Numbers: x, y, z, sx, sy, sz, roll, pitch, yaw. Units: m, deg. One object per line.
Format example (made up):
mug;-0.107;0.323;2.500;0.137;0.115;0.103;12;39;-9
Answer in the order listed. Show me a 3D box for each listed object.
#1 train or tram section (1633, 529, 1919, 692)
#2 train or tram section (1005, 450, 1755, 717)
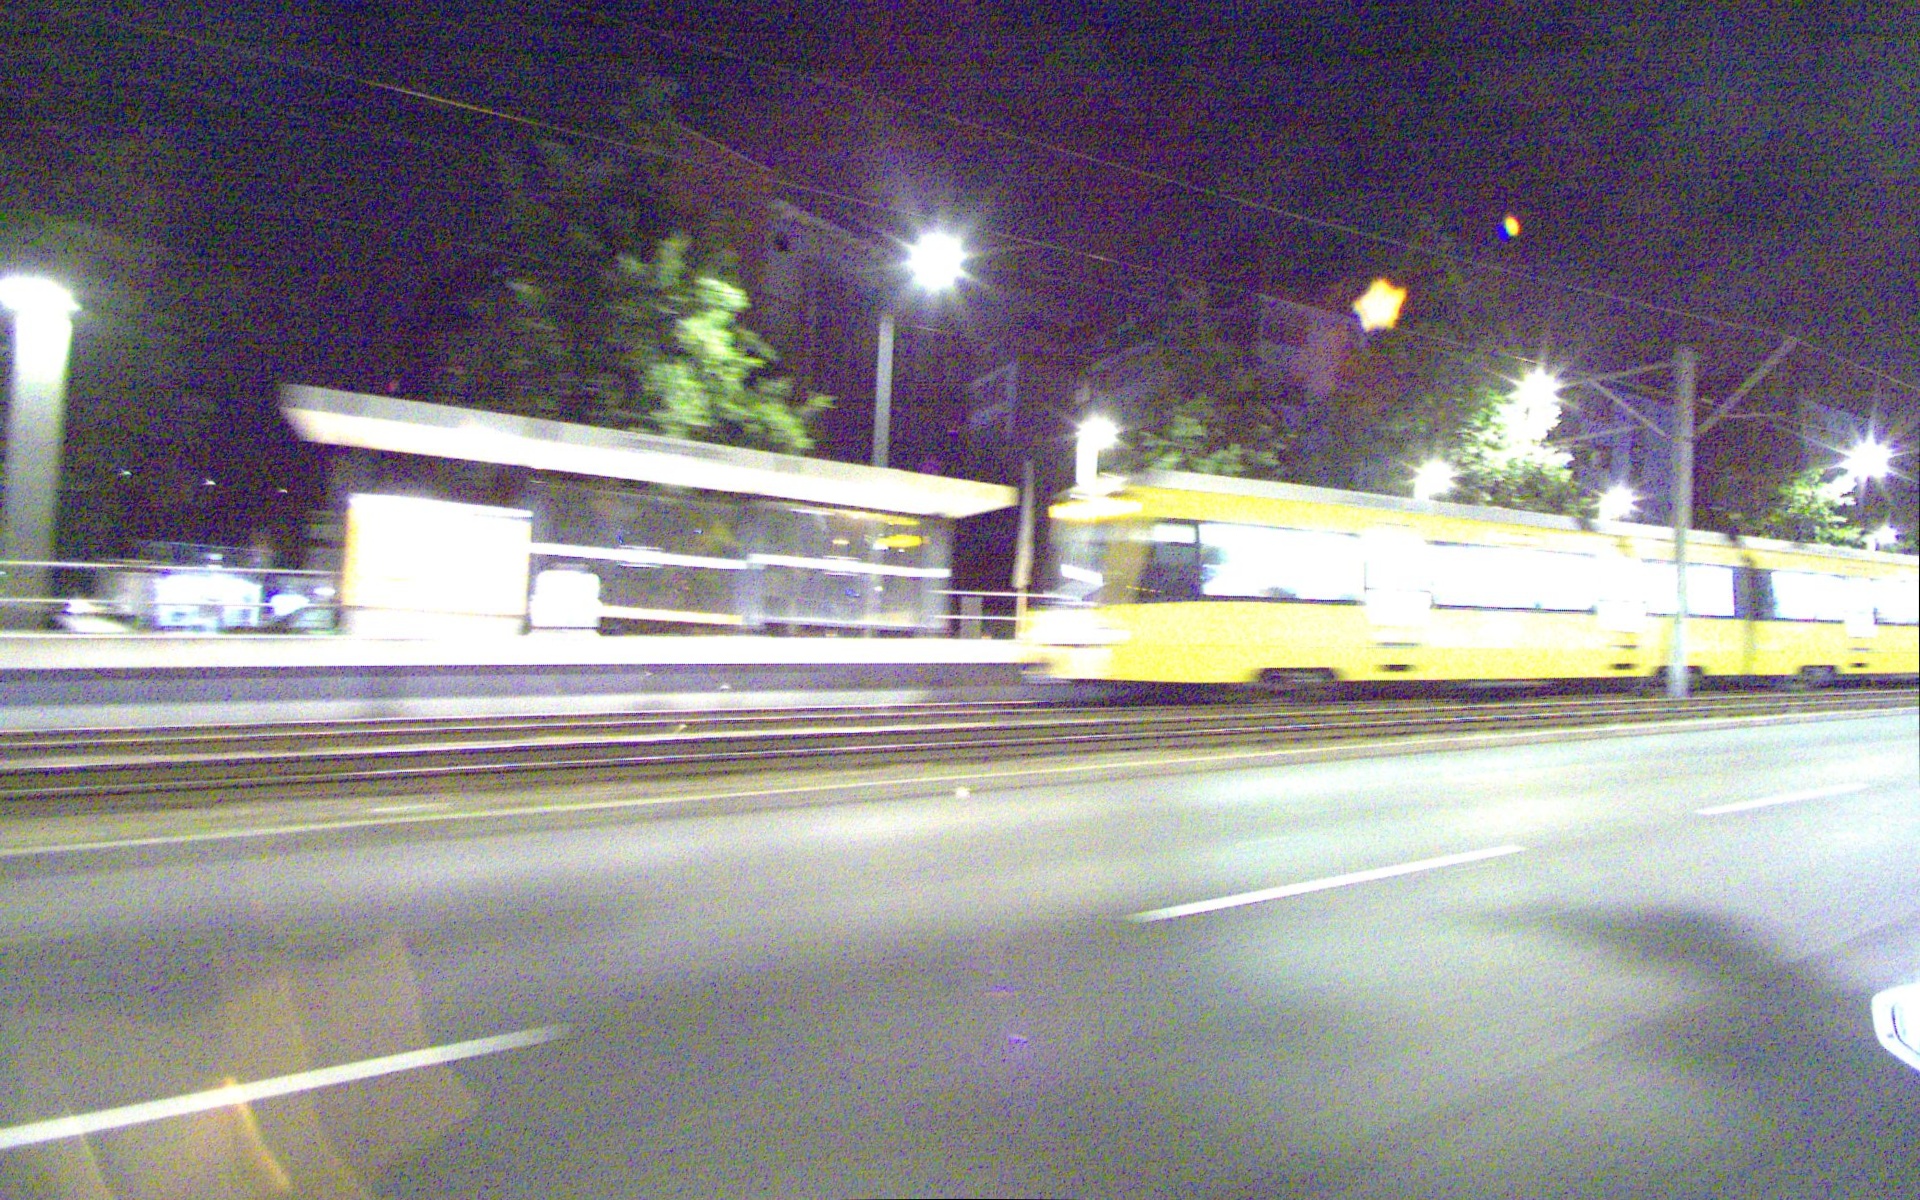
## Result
train or tram section;26.346;0.501;29.522;18.441;3.878;2.747;2;-1;-29
train or tram section;9.821;0.016;20.468;19.124;3.897;2.727;2;-1;-29
